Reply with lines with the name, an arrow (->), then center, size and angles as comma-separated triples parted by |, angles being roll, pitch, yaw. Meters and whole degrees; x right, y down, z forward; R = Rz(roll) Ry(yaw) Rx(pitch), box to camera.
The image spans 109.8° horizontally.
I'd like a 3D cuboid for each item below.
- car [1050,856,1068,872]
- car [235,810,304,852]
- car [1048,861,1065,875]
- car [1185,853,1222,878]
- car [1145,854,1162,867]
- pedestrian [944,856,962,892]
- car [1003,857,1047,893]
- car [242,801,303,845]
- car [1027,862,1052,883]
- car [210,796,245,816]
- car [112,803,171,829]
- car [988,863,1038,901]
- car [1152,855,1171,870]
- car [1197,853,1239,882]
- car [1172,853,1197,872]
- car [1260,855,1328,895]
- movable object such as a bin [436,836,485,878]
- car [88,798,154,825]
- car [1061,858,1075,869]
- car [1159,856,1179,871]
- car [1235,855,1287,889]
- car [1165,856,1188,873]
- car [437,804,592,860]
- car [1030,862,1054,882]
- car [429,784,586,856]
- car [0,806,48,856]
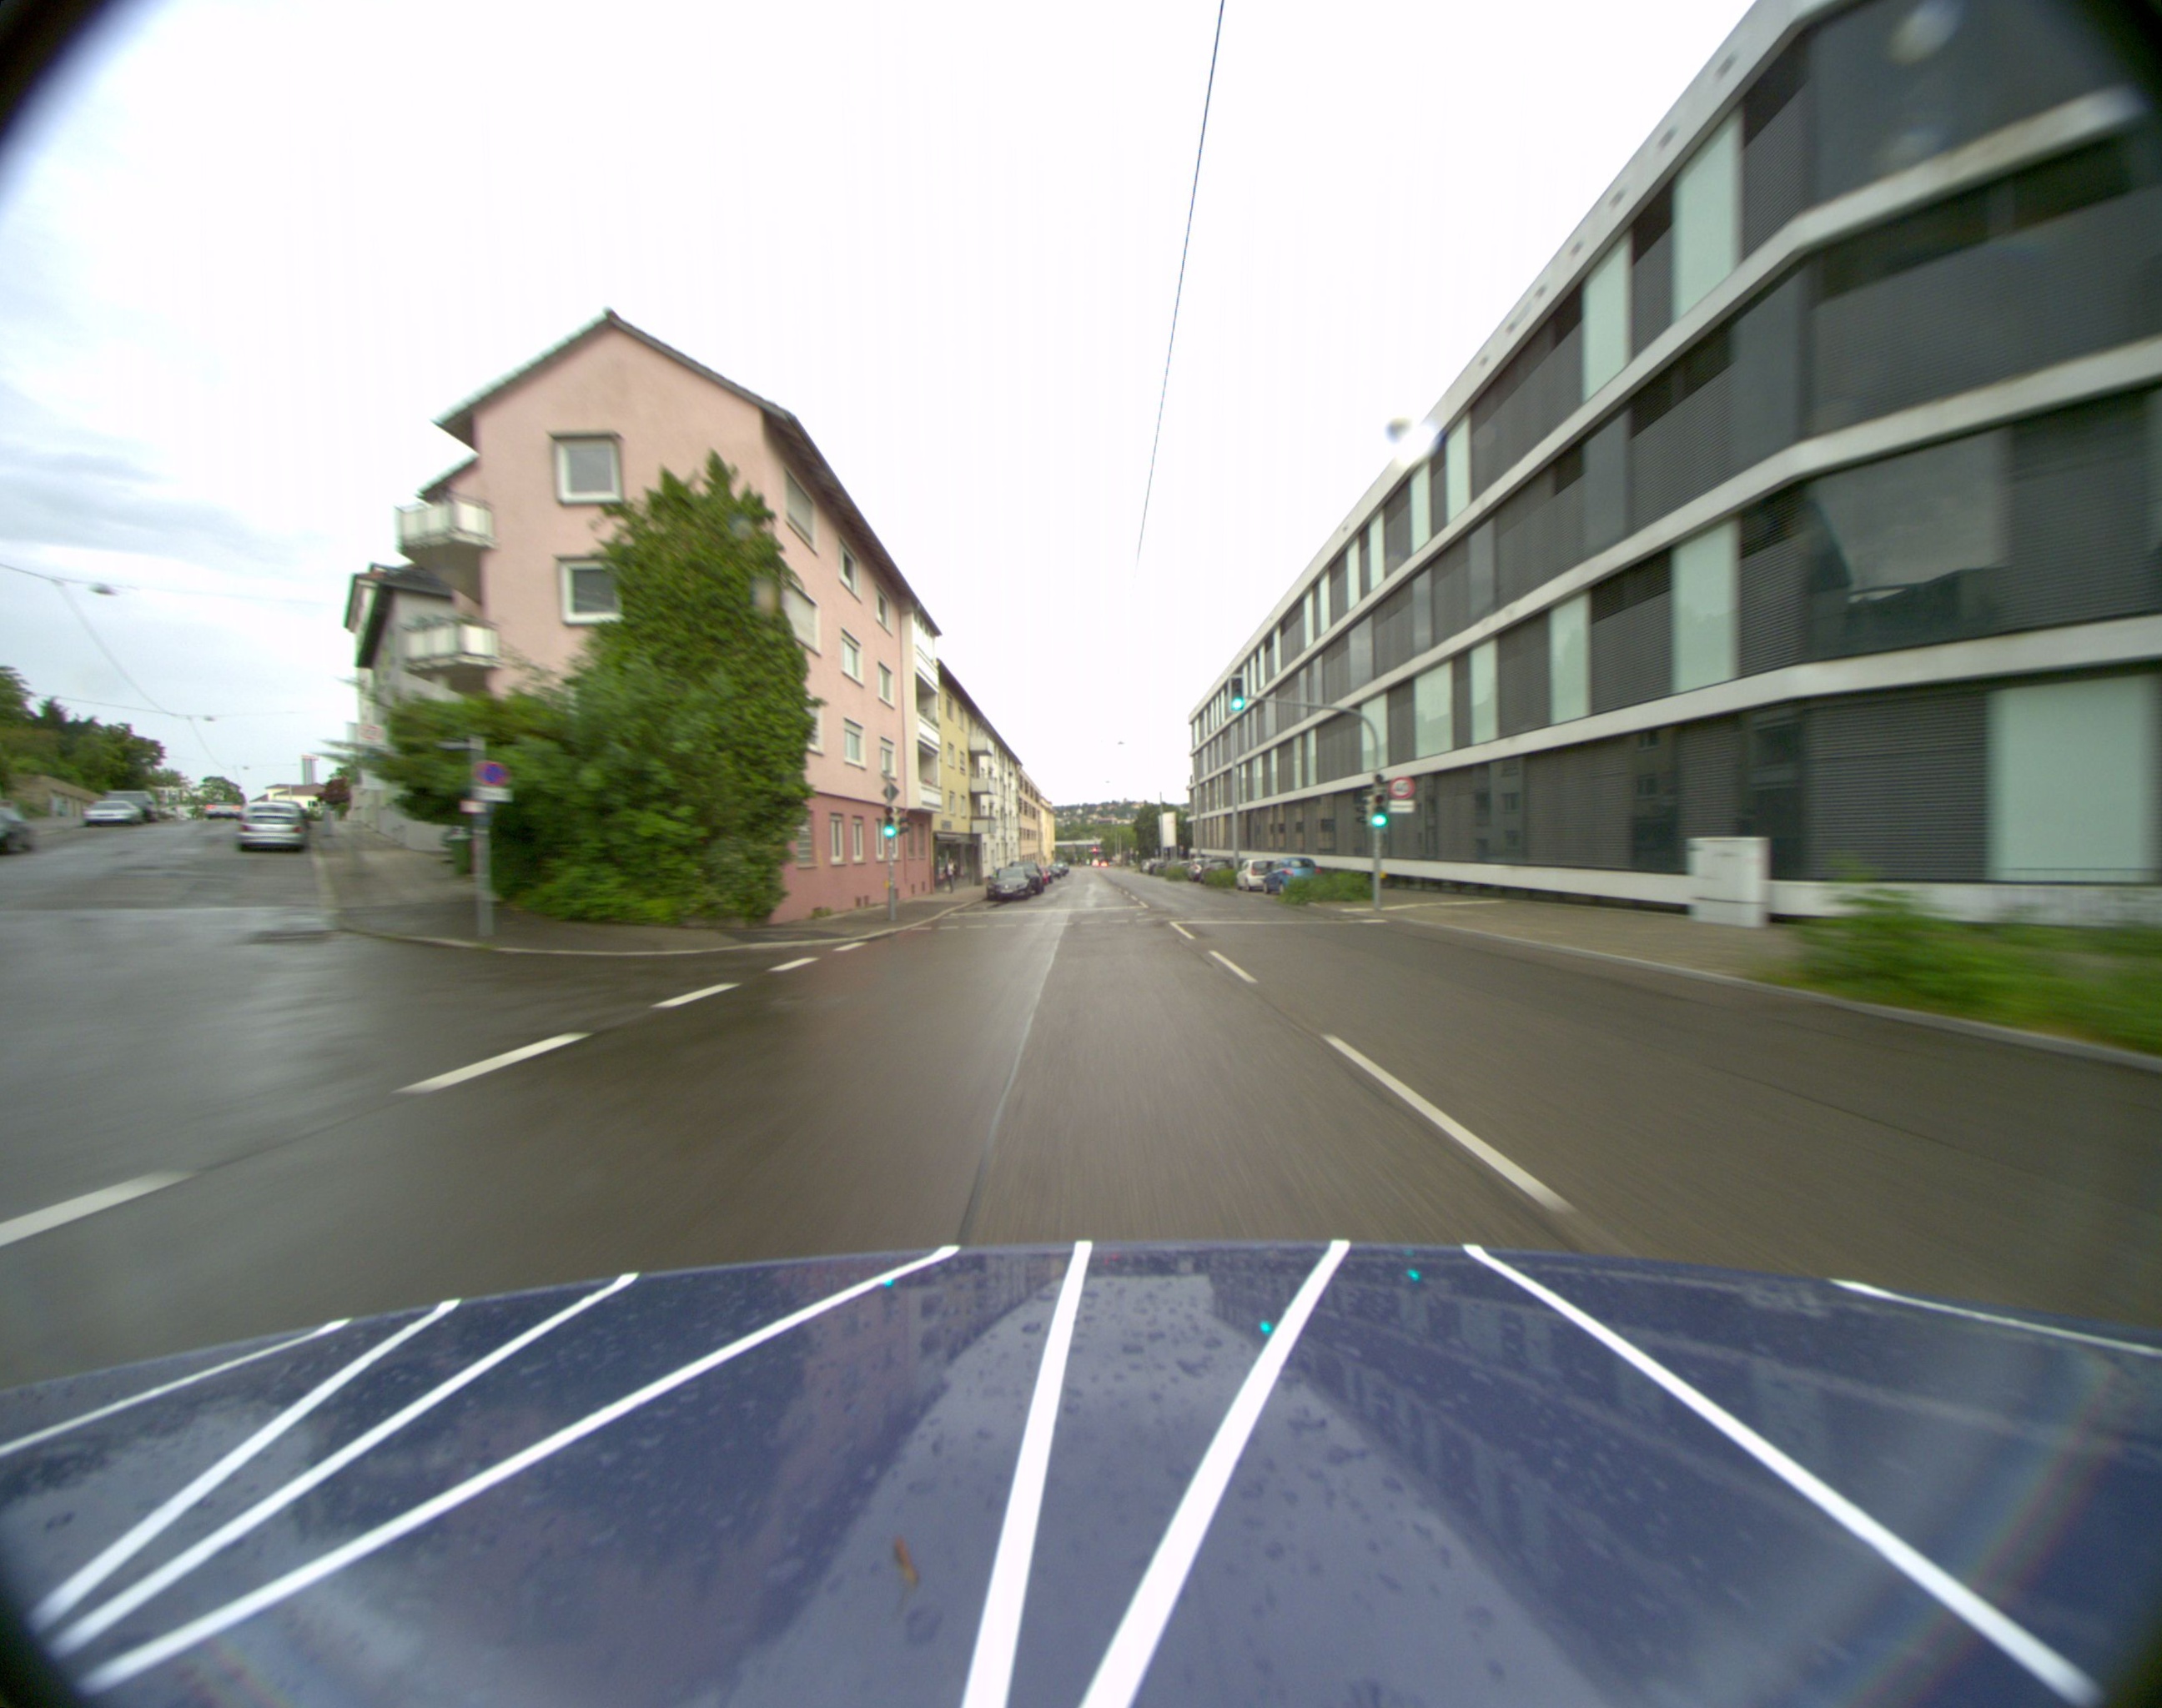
car -> -2.703, 1.273, 94.822 | 1.911, 1.865, 4.750 | -2, 0, 1
car -> -31.066, -0.904, 29.084 | 3.903, 1.446, 1.687 | 5, 4, 42
car -> -2.576, 1.453, 80.988 | 1.630, 1.402, 3.778 | -2, 0, 1
car -> 8.427, 0.767, 52.492 | 1.835, 1.580, 4.363 | -3, 0, 1
car -> 8.943, 0.799, 93.610 | 1.642, 1.576, 4.041 | -2, 0, 1
pedestrian -> -6.353, 0.972, 37.762 | 0.715, 1.763, 0.748 | 1, 0, 0
car -> -2.895, 1.081, 40.437 | 1.968, 1.764, 4.512 | -1, 0, 0
car -> -34.492, -1.340, 32.417 | 3.903, 1.757, 1.687 | 5, 4, 42
car -> -3.083, 1.360, 56.791 | 1.630, 1.448, 3.484 | -2, 0, 0
car -> -66.138, -3.756, 58.909 | 3.833, 1.446, 1.686 | 5, 6, 42
car -> -57.348, -2.358, 46.436 | 1.686, 1.446, 3.833 | -4, 6, -43
car -> -3.031, 1.215, 34.708 | 1.797, 1.511, 4.512 | -2, 0, 0
car -> 8.776, 0.888, 83.473 | 1.642, 1.576, 4.041 | -2, 0, 1
car -> 8.281, 0.783, 46.301 | 1.887, 1.580, 4.363 | -3, 0, 3
car -> 8.479, 0.676, 62.503 | 1.565, 1.385, 4.041 | -2, 0, 1
car -> 8.502, 0.789, 30.620 | 1.641, 1.458, 3.583 | -2, 0, -1
movable object such as a bin -> -17.626, 0.066, 21.595 | 0.758, 1.151, 0.749 | -1, 4, -10
car -> -54.196, -2.427, 42.951 | 1.686, 1.446, 3.833 | -4, 6, -43
car -> -1.911, 1.438, 111.224 | 1.798, 1.501, 4.000 | -2, 0, 1
car -> 8.923, 0.939, 77.223 | 1.642, 1.463, 4.041 | -2, 0, 1
car -> 8.341, 0.821, 35.546 | 1.641, 1.458, 3.584 | -2, 0, 2
car -> 8.597, 0.917, 68.454 | 1.565, 1.463, 4.041 | -2, 0, 1
car -> -20.726, -0.830, 27.929 | 1.946, 1.853, 4.273 | 5, 5, 42
car -> -3.073, 1.418, 60.965 | 1.630, 1.402, 3.778 | -2, 0, 1
car -> -22.373, -1.336, 29.762 | 4.604, 2.578, 2.328 | -2, 5, -45
car -> -34.426, -0.749, 23.935 | 4.324, 1.446, 1.686 | 5, 6, 42
